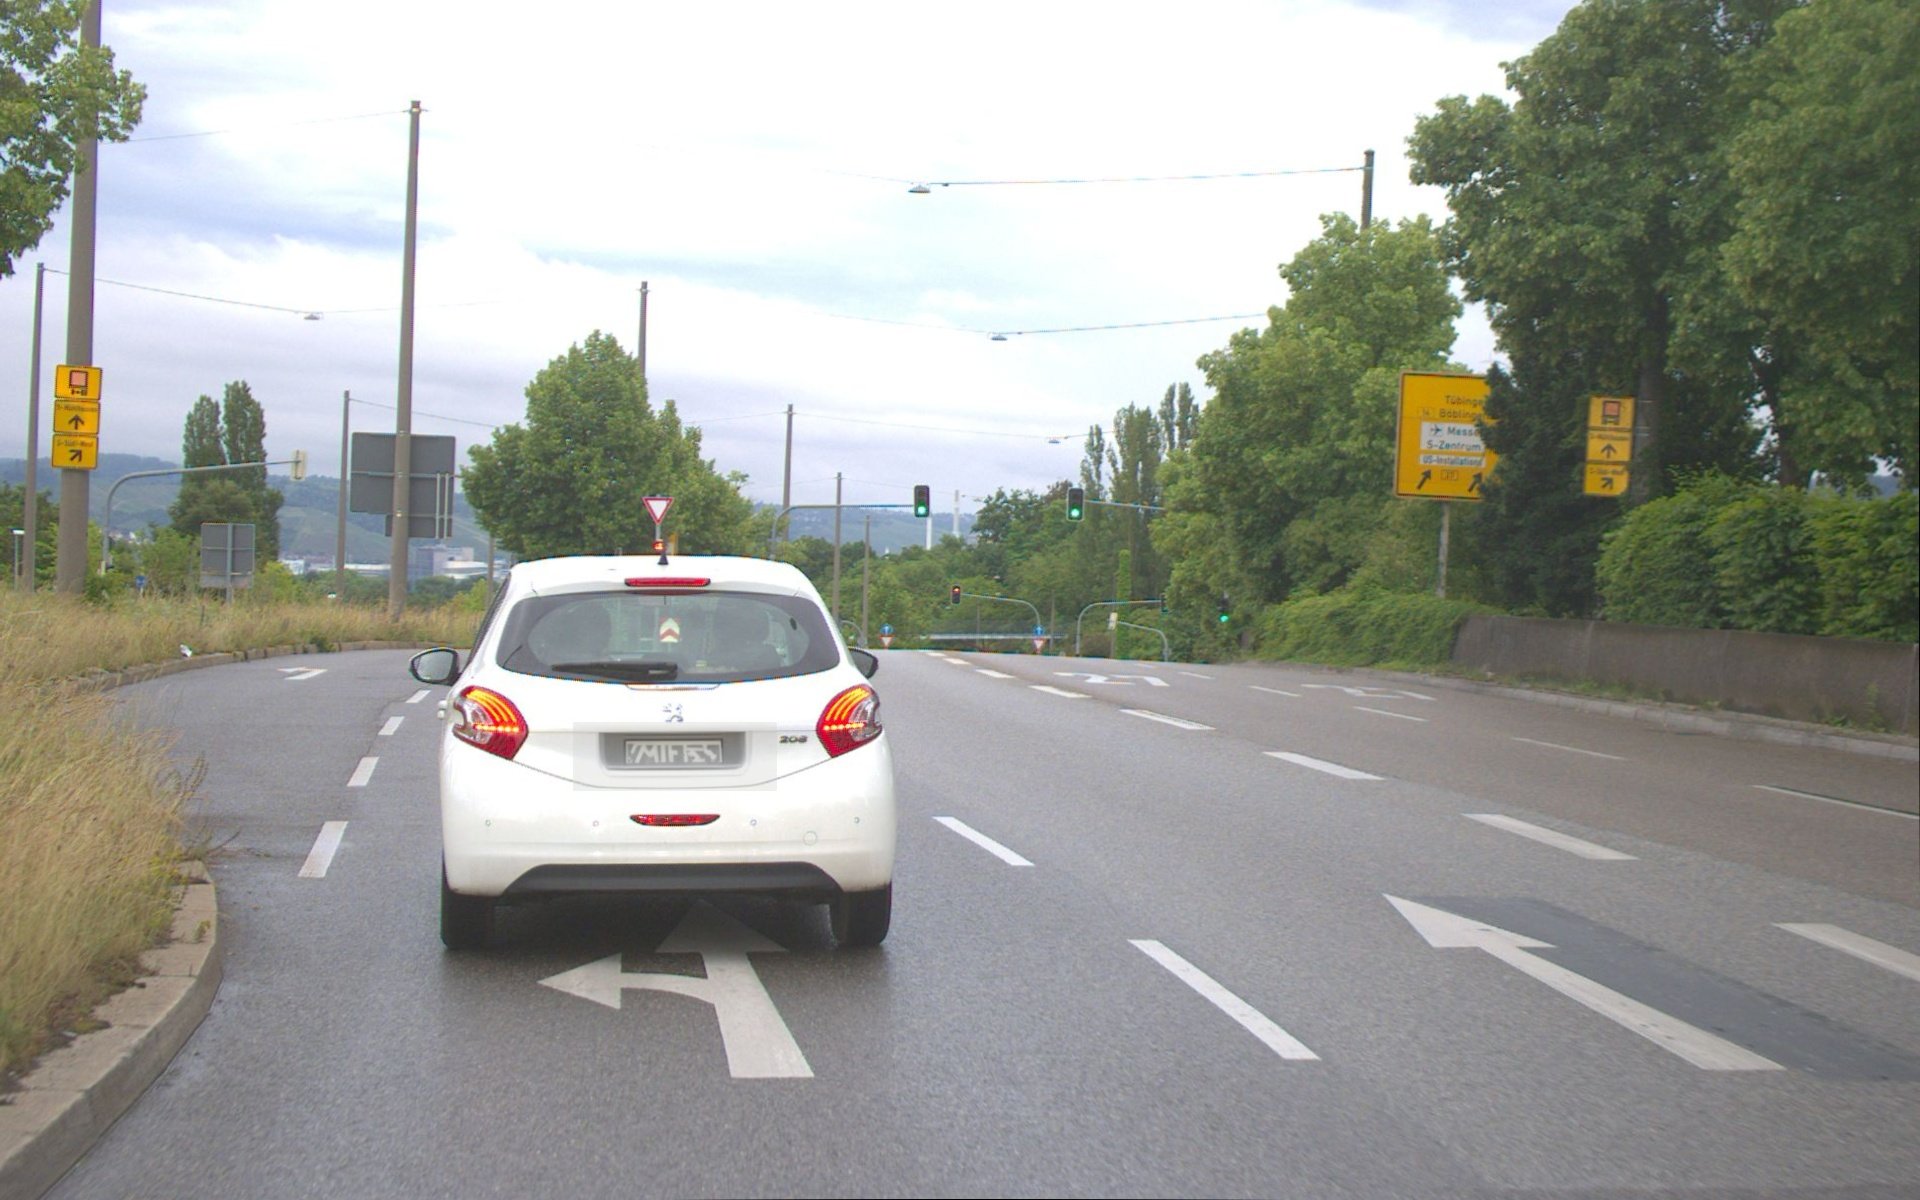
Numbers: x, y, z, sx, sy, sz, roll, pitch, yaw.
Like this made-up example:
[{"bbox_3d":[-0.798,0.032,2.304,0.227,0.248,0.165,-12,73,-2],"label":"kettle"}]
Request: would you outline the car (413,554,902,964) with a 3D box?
[{"bbox_3d":[-1.197,0.554,13.945,1.708,1.435,3.691,0,0,-4],"label":"car"}]
